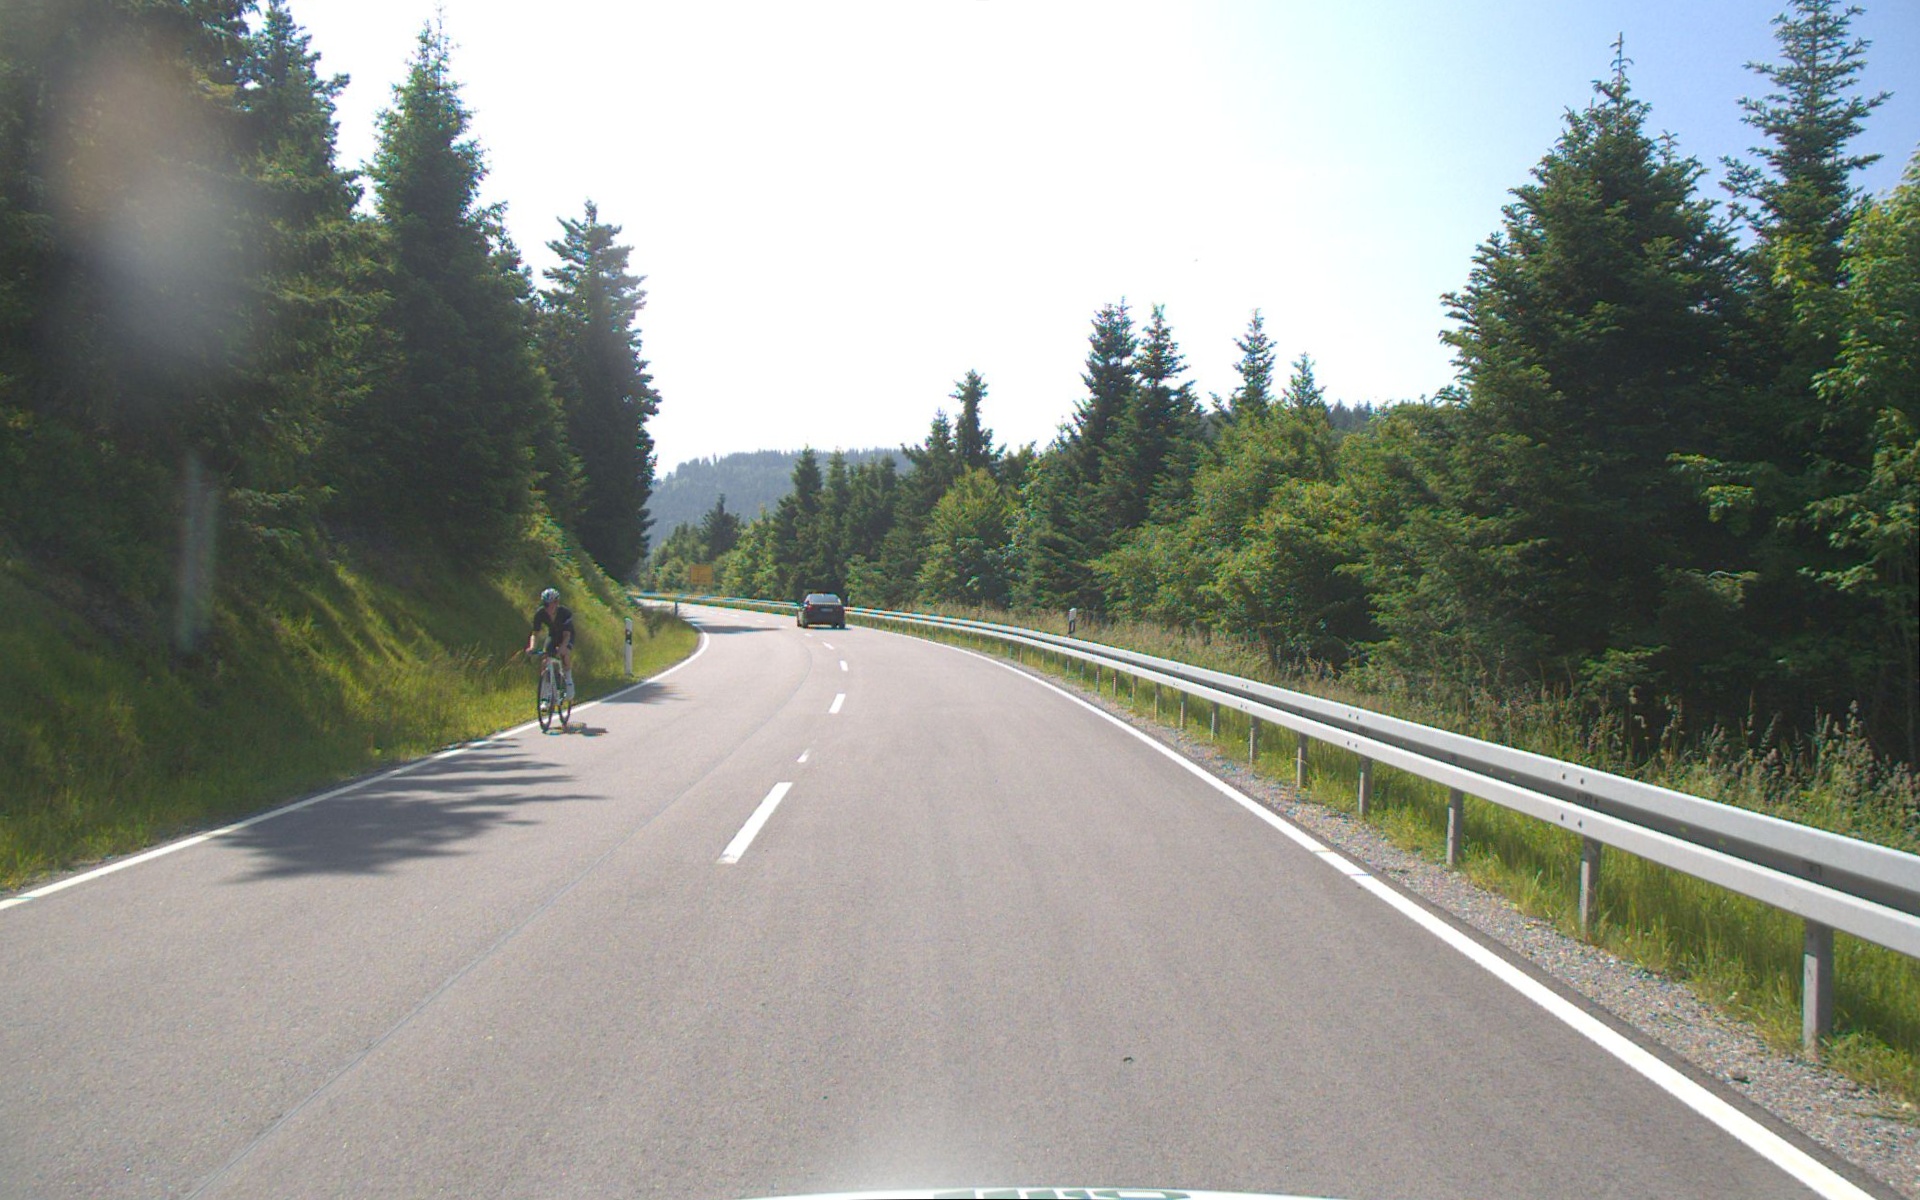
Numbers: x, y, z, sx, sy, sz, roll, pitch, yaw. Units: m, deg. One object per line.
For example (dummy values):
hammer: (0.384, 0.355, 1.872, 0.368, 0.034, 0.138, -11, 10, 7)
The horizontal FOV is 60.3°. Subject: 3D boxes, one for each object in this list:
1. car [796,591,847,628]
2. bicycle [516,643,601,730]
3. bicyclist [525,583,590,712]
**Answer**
car: (-5.867, 0.380, 69.588, 1.744, 1.467, 3.699, 0, 0, -11)
bicycle: (-4.710, 0.993, 19.506, 0.542, 0.902, 2.062, 0, 0, -1)
bicyclist: (-4.710, 0.542, 19.401, 0.530, 1.476, 0.983, 0, 0, -1)
